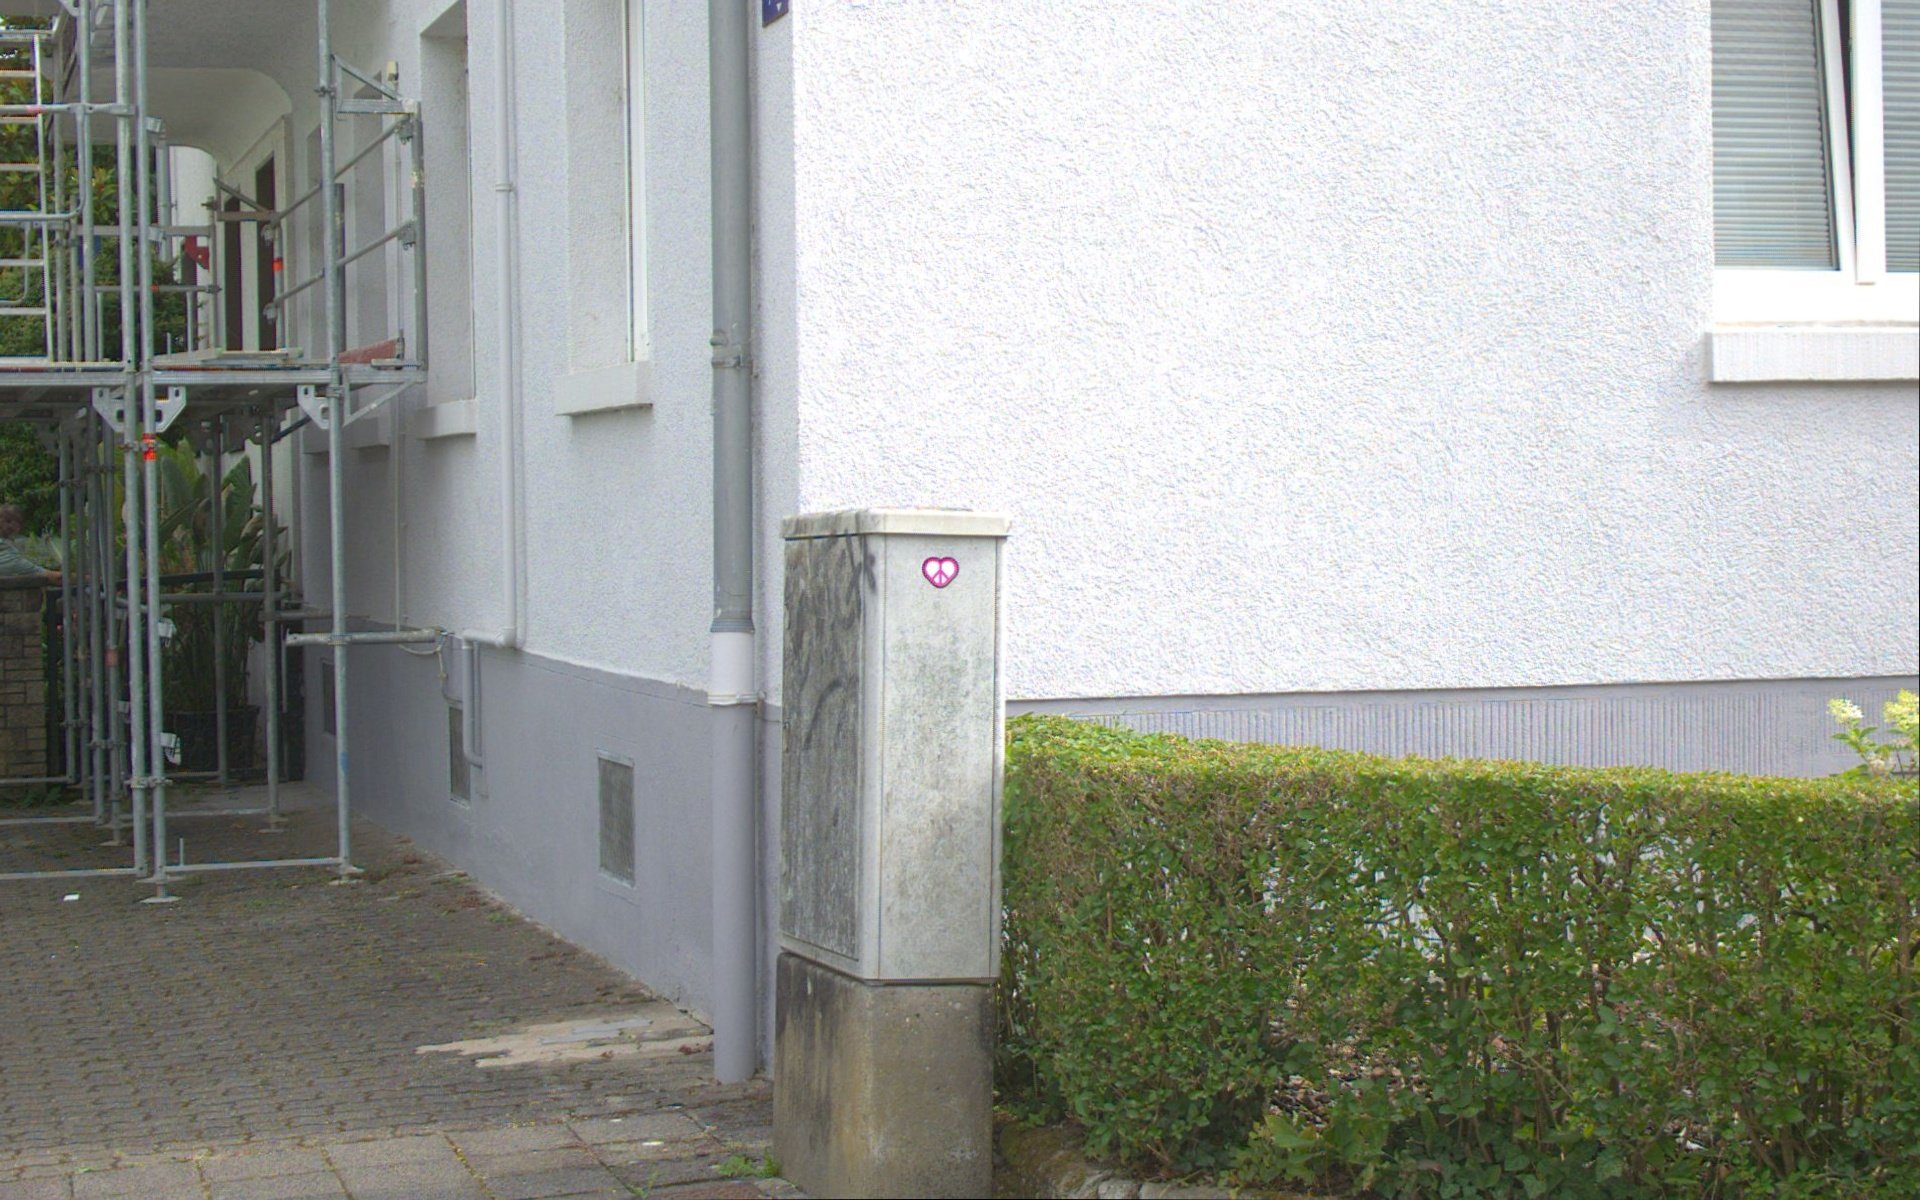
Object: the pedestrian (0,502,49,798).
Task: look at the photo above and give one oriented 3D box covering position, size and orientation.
[{"bbox_3d":[-5.420,0.277,19.176,0.601,1.623,0.625,-2,0,-16],"label":"pedestrian"}]
